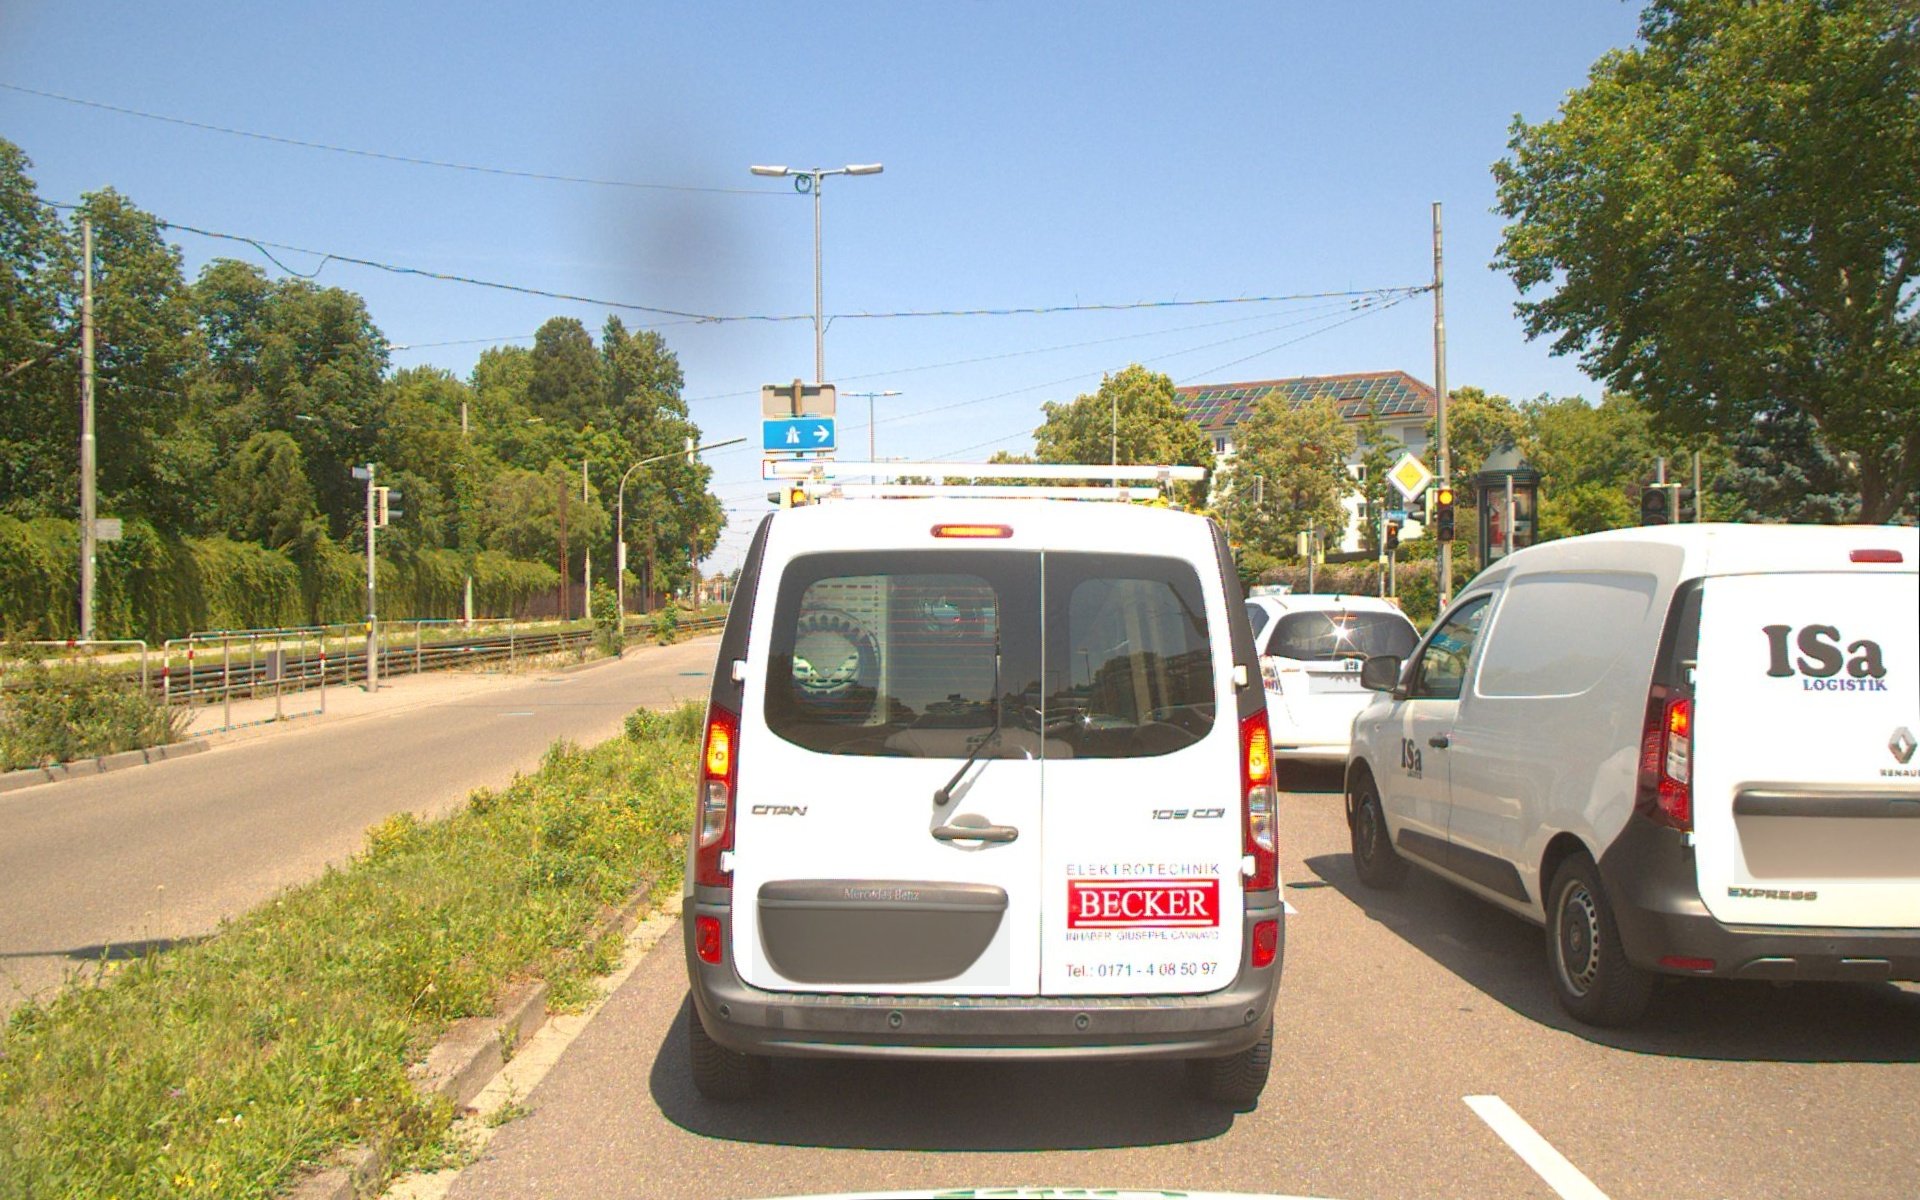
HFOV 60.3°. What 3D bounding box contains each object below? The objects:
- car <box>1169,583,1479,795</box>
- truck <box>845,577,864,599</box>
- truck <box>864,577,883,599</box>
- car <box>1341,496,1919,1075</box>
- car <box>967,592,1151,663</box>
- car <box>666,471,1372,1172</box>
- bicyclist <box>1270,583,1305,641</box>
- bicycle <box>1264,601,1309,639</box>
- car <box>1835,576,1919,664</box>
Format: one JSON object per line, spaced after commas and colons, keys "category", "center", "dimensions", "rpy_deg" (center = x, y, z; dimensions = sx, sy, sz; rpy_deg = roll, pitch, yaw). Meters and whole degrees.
{"category": "car", "center": [3.043, 0.662, 14.674], "dimensions": [1.798, 1.596, 3.999], "rpy_deg": [1, 1, -1]}
{"category": "truck", "center": [-13.599, -1.532, 214.053], "dimensions": [2.095, 2.633, 5.888], "rpy_deg": [1, 0, -1]}
{"category": "truck", "center": [-10.777, -1.518, 205.617], "dimensions": [2.095, 2.633, 5.888], "rpy_deg": [1, 0, -1]}
{"category": "car", "center": [3.058, 0.595, 7.280], "dimensions": [1.693, 1.819, 4.063], "rpy_deg": [1, 0, -2]}
{"category": "car", "center": [2.261, 0.613, 38.116], "dimensions": [3.918, 1.546, 1.747], "rpy_deg": [0, -1, 35]}
{"category": "car", "center": [0.125, 0.571, 6.419], "dimensions": [1.784, 1.770, 4.395], "rpy_deg": [1, 0, -1]}
{"category": "bicyclist", "center": [10.541, 0.384, 53.236], "dimensions": [0.954, 1.819, 0.725], "rpy_deg": [0, 0, -6]}
{"category": "bicycle", "center": [10.503, 0.638, 53.254], "dimensions": [0.875, 1.179, 1.954], "rpy_deg": [0, 0, -6]}
{"category": "car", "center": [19.045, 0.389, 31.471], "dimensions": [3.902, 1.625, 1.701], "rpy_deg": [1, 1, 12]}
